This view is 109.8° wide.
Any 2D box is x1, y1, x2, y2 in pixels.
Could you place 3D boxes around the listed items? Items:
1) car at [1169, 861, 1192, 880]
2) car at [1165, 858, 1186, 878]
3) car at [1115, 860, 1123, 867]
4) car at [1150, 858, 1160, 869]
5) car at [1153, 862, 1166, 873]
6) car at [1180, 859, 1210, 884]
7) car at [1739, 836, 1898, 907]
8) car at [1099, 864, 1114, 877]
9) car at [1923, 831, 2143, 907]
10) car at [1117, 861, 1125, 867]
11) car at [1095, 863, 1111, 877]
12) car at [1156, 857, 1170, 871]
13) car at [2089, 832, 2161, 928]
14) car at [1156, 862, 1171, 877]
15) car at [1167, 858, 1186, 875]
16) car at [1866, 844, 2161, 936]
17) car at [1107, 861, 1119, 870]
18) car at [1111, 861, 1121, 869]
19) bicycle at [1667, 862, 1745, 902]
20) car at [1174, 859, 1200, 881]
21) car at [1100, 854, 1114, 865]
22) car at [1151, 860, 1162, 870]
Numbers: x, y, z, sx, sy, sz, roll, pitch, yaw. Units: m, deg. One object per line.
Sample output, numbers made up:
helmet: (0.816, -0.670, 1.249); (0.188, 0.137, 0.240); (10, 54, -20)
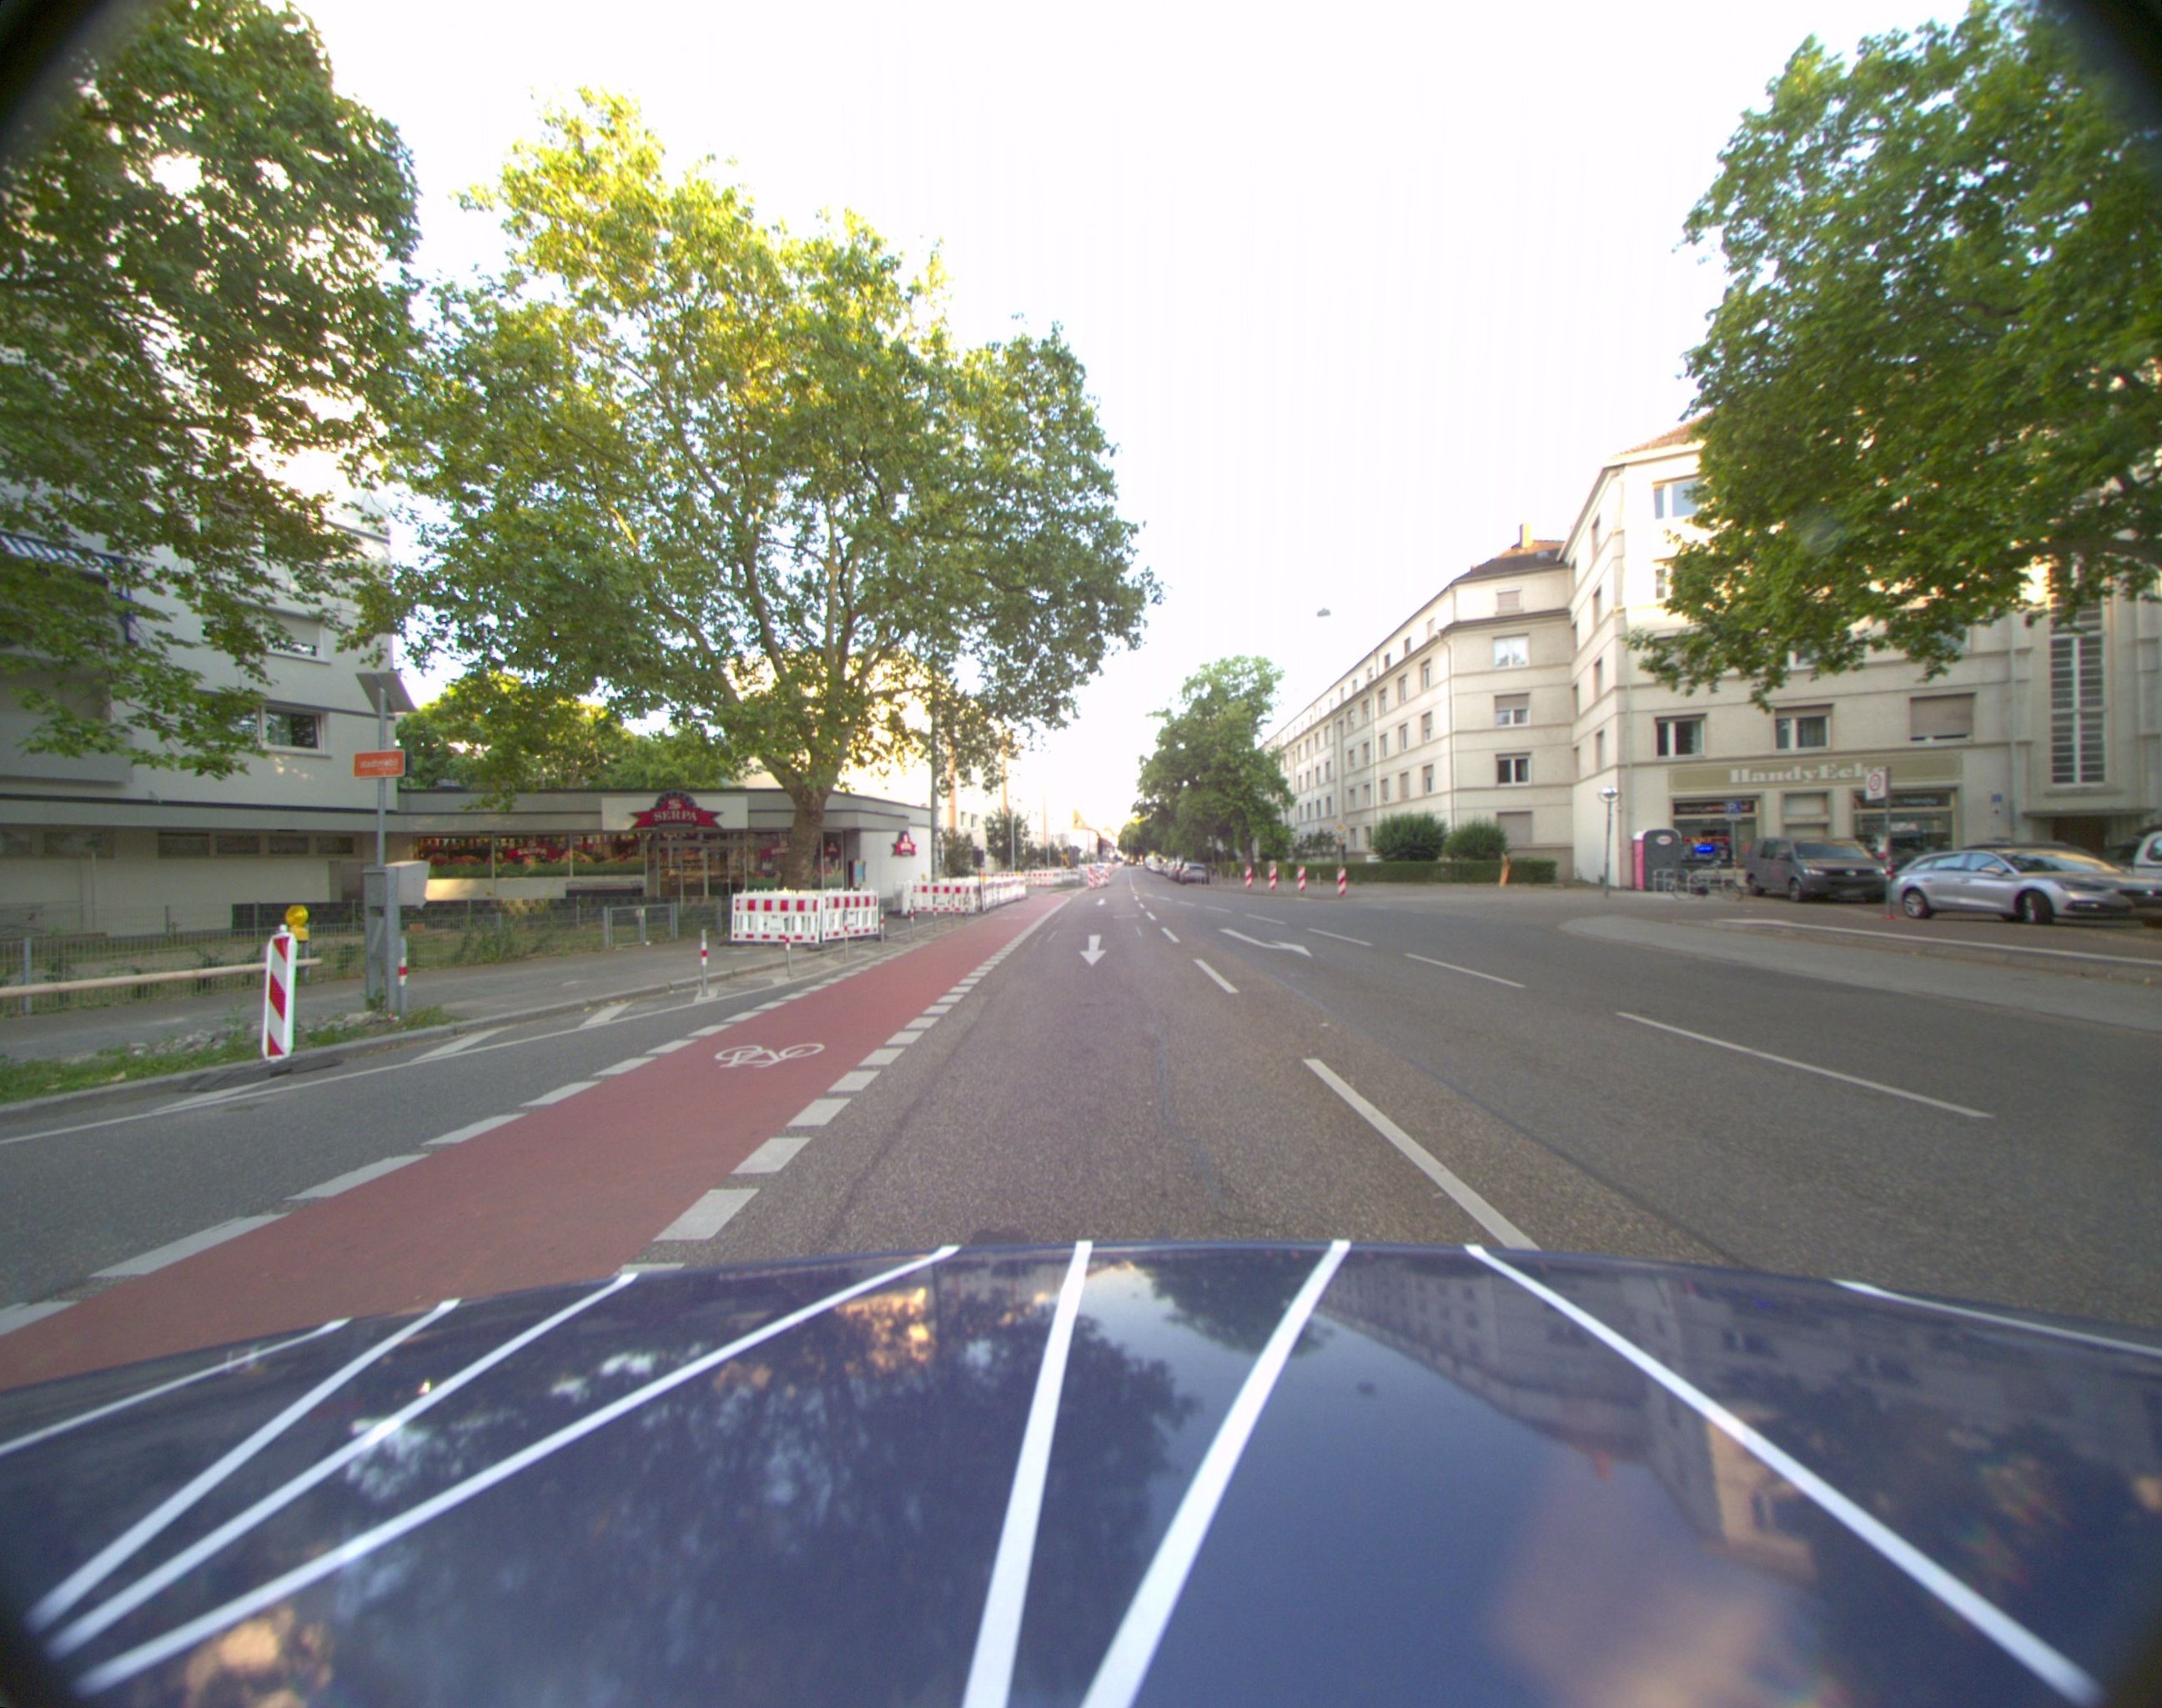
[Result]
car: (9.050, 1.492, 69.503); (1.892, 1.591, 4.261); (-2, 0, 6)
car: (9.325, 1.362, 75.452); (1.892, 1.763, 4.261); (-2, 0, 6)
car: (9.886, 2.492, 196.527); (1.892, 1.591, 4.261); (-2, 0, 6)
car: (13.953, 1.759, 143.570); (1.892, 1.867, 4.947); (-2, 0, 6)
car: (12.187, 2.082, 117.915); (1.892, 1.591, 4.261); (-2, 0, 6)
car: (8.087, 1.221, 54.121); (1.892, 1.591, 4.001); (-2, 0, 6)
car: (22.629, 0.434, 23.590); (1.995, 1.945, 4.647); (0, 2, 24)
car: (3.759, 2.445, 113.362); (1.892, 1.726, 4.261); (-2, 0, 6)
car: (27.135, 0.320, 21.950); (1.995, 1.945, 4.647); (0, 2, 24)
car: (10.807, 2.675, 205.732); (1.892, 1.591, 4.261); (-2, 0, 6)
car: (2.943, 2.101, 101.077); (1.892, 1.591, 4.261); (-2, 0, 6)
car: (11.600, 1.454, 108.241); (1.892, 1.854, 4.261); (-2, 0, 6)
car: (20.728, 0.458, 13.025); (1.995, 1.770, 4.649); (0, -1, 21)
car: (10.756, 1.988, 99.276); (1.892, 1.815, 4.261); (-2, 0, 6)
car: (10.139, 1.308, 80.980); (1.892, 1.591, 4.261); (-2, 0, 6)
car: (18.143, 0.651, 14.705); (1.996, 1.494, 4.647); (0, -1, 15)
car: (5.960, 2.082, 141.414); (1.892, 1.591, 4.261); (-2, 0, 6)
car: (7.250, 2.202, 156.271); (1.892, 1.591, 4.261); (-2, 0, 6)
bicycle: (19.417, 0.876, 23.644); (1.802, 1.199, 0.648); (-2, 1, 33)
car: (8.639, 1.278, 62.206); (1.892, 1.681, 4.261); (-2, 0, 6)
car: (4.242, 0.875, 121.887); (1.892, 1.651, 4.261); (-2, 0, 6)
car: (13.212, 1.958, 132.842); (1.892, 1.591, 4.261); (-2, 0, 6)
